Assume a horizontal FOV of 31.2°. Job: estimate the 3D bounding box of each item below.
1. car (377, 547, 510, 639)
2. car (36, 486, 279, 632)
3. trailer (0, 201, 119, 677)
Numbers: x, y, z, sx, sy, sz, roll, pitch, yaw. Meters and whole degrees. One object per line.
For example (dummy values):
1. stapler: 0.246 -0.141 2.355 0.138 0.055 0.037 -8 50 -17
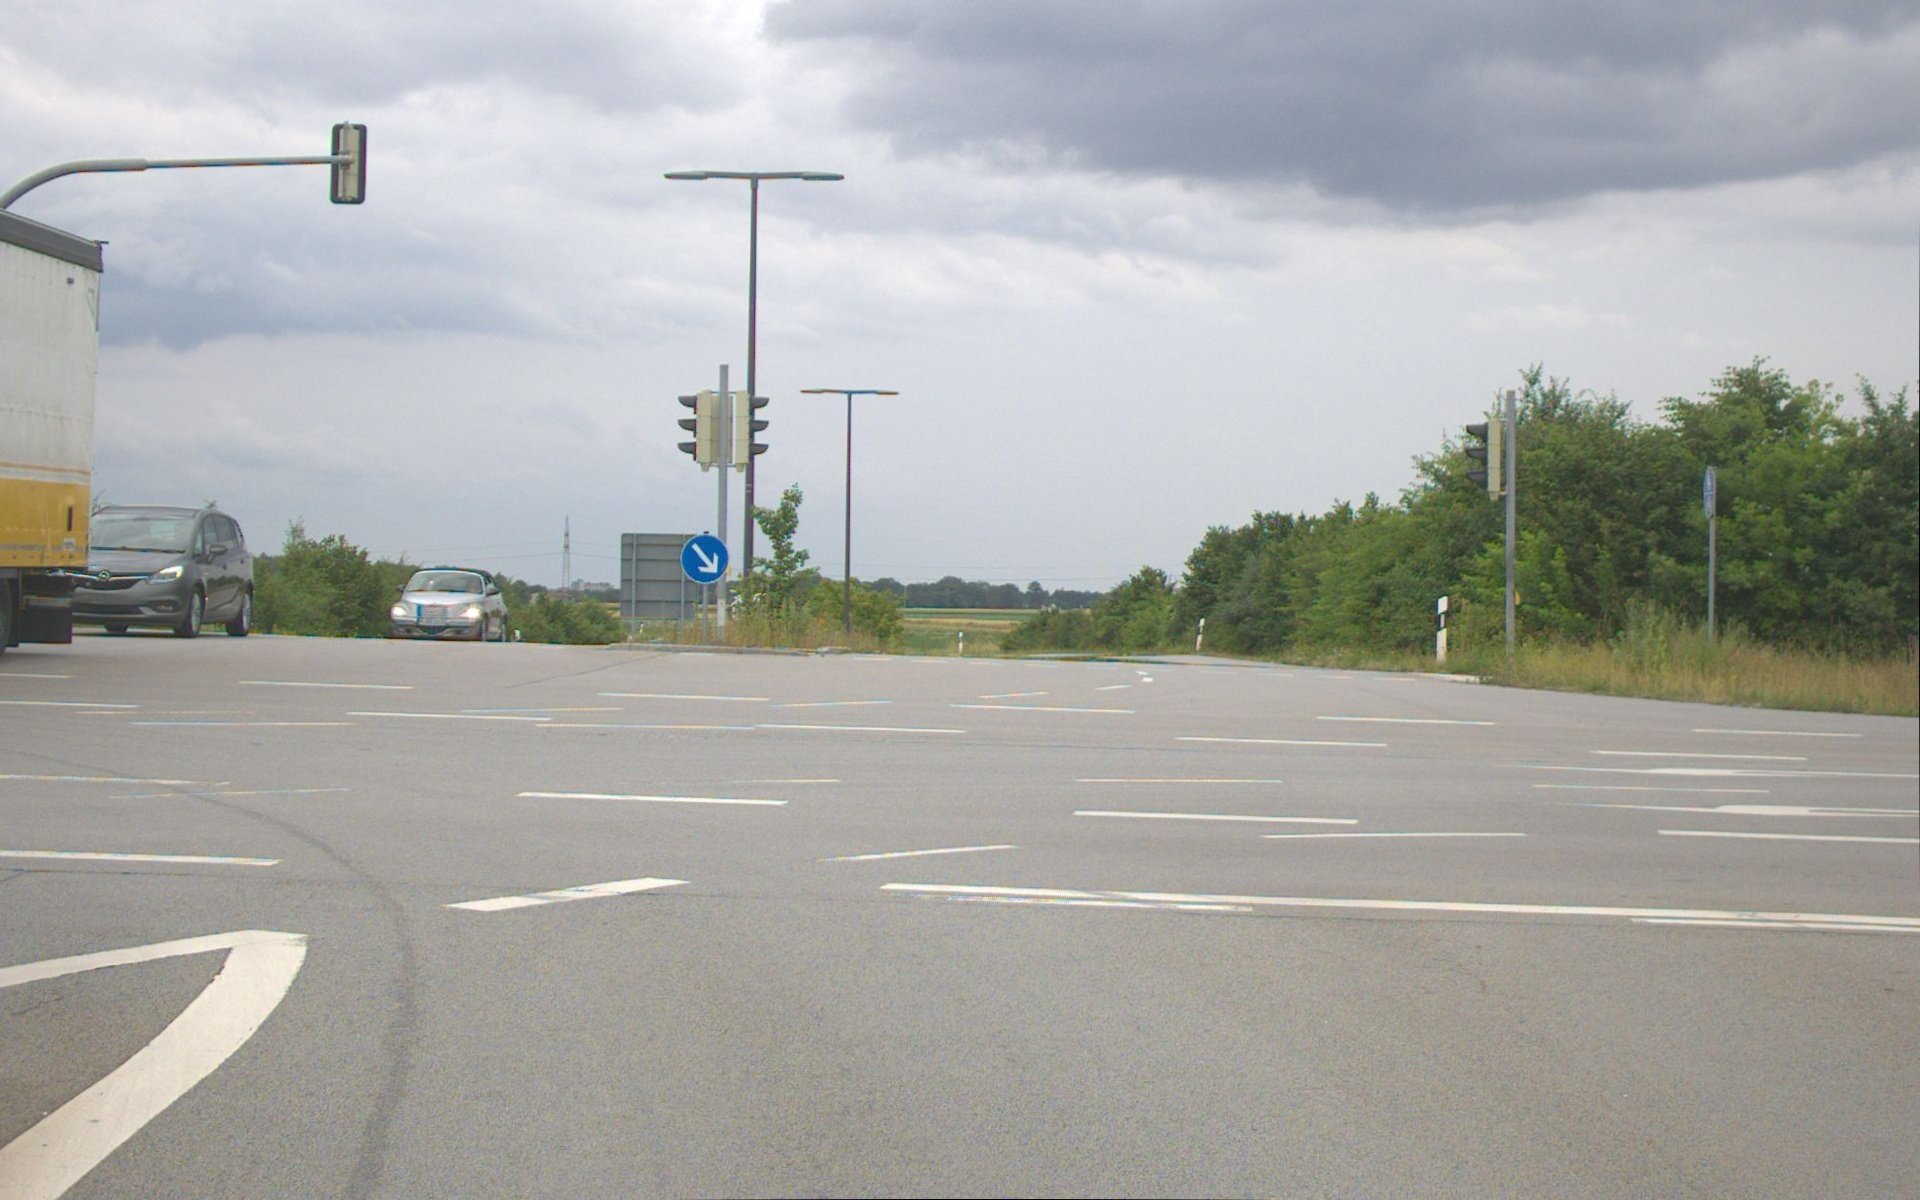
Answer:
1. car: -9.466 -0.159 63.278 1.810 1.515 4.243 2 2 -1
2. car: -9.864 -0.505 42.587 1.993 1.688 4.455 1 1 -1
3. trailer: -9.835 -1.408 27.510 2.692 4.196 13.841 1 1 0
